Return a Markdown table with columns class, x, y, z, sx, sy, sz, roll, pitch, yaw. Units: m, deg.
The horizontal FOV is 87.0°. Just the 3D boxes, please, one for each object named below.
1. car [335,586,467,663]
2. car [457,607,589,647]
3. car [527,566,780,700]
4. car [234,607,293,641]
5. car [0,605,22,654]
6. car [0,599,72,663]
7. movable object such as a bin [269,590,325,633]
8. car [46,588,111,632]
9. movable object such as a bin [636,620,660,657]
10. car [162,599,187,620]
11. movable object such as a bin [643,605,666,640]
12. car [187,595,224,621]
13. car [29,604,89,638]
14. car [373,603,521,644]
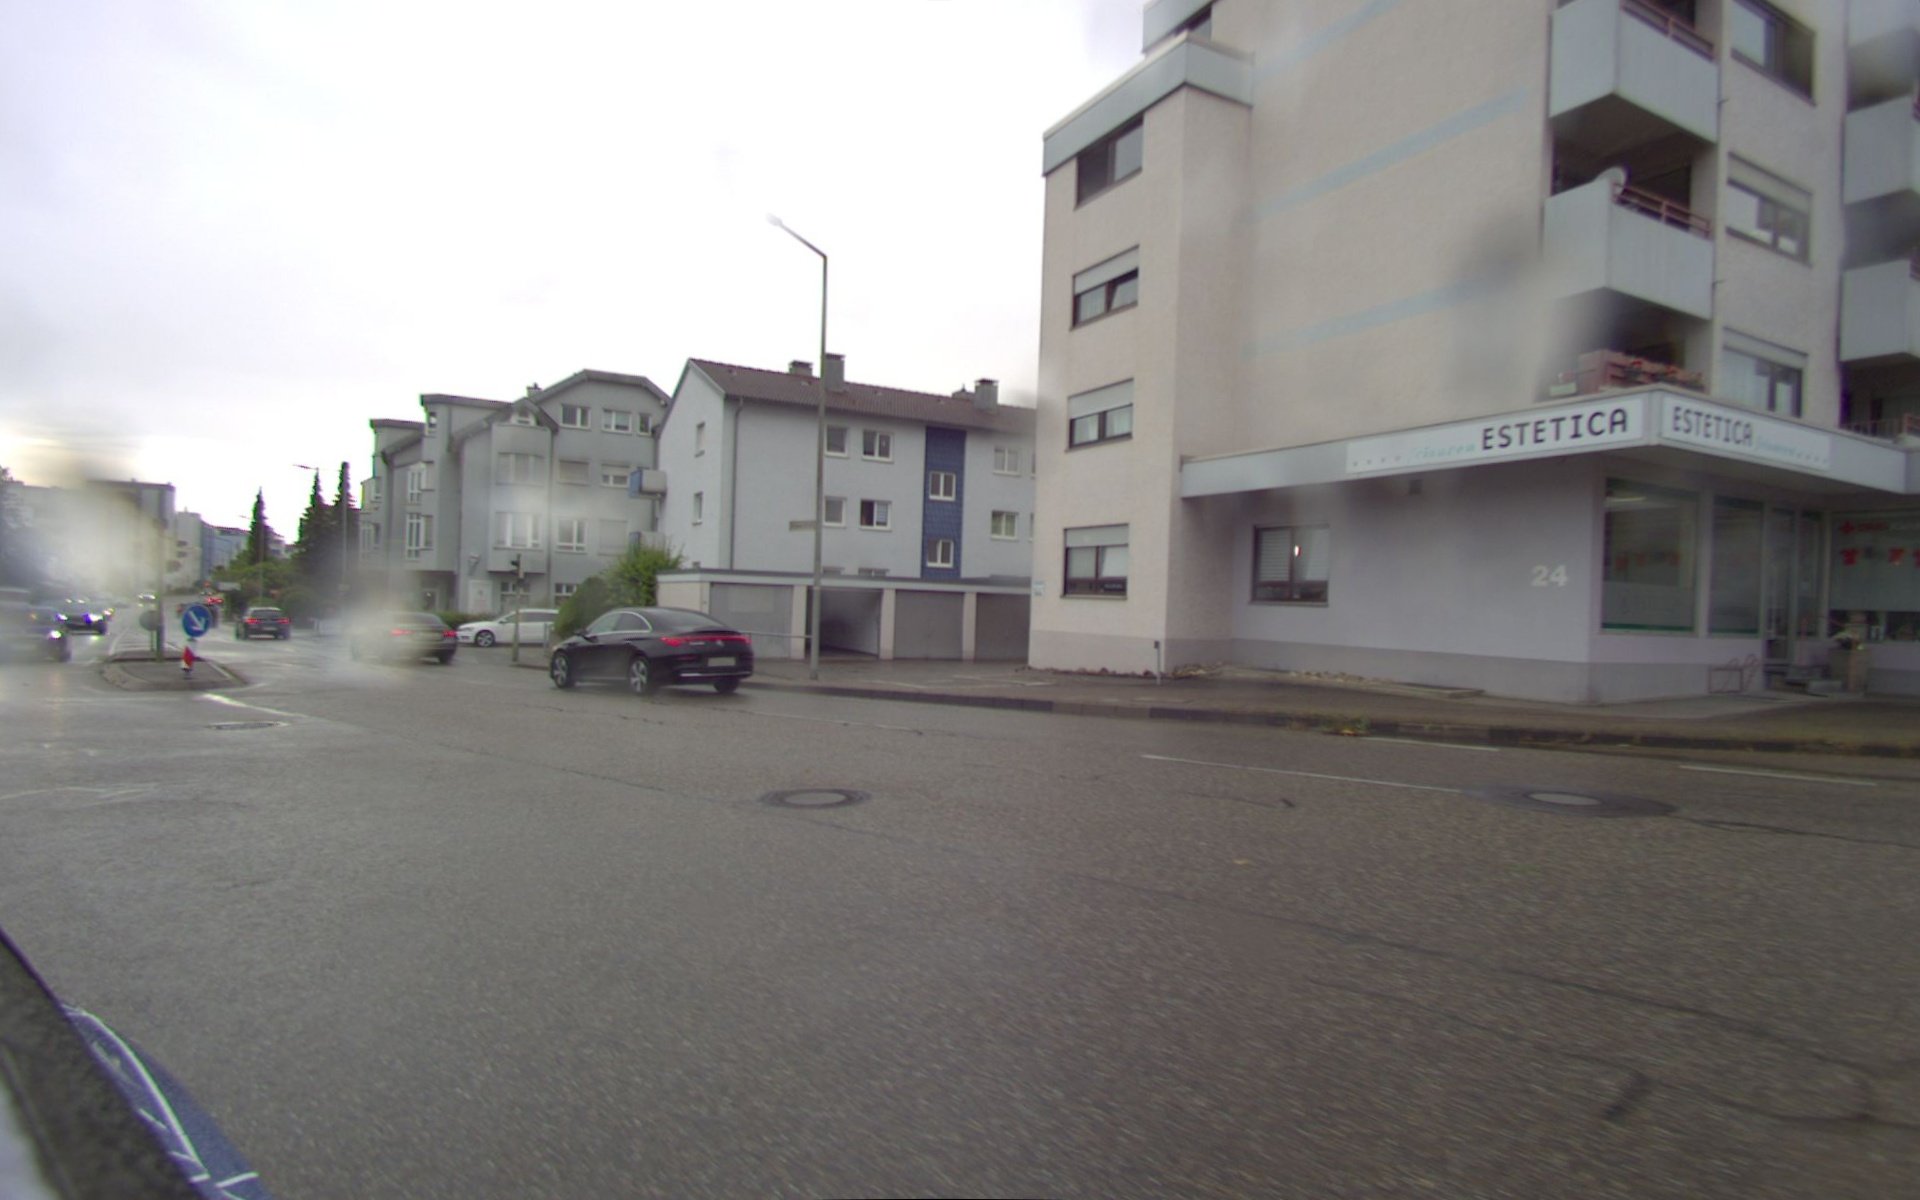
| class | x | y | z | sx | sy | sz | roll | pitch | yaw |
| --- | --- | --- | --- | --- | --- | --- | --- | --- | --- |
| car | -16.441 | 0.724 | 29.589 | 2.064 | 2.029 | 5.987 | 3 | -2 | -41 |
| car | -17.467 | 1.071 | 40.486 | 4.549 | 1.508 | 1.934 | 2 | -1 | -34 |
| car | -5.401 | 0.523 | 17.536 | 4.648 | 2.029 | 1.973 | 0 | -1 | 40 |
| car | -32.014 | 1.067 | 46.487 | 1.766 | 1.483 | 4.169 | 1 | -1 | -41 |
| car | -38.584 | 1.117 | 39.673 | 1.967 | 1.874 | 4.010 | 4 | -2 | -34 |
| car | -24.559 | 0.786 | 26.690 | 1.627 | 1.568 | 3.356 | 1 | -1 | -40 |
| movable object such as a bin | -45.523 | 0.795 | 69.541 | 2.877 | 2.863 | 2.204 | 1 | -1 | -24 |
| car | -42.572 | 0.504 | 48.979 | 1.967 | 2.029 | 4.009 | 1 | -1 | -36 |
| movable object such as a bin | -9.231 | 1.120 | 29.928 | 0.492 | 1.026 | 0.690 | -3 | 2 | -29 |
| car | -81.881 | 0.998 | 105.492 | 1.967 | 2.029 | 4.009 | 1 | -1 | -37 |
| movable object such as a bin | -8.871 | 0.637 | 29.335 | 0.492 | 0.968 | 0.536 | -3 | 2 | -29 |
| car | -55.125 | 0.604 | 73.954 | 2.069 | 1.847 | 4.744 | 1 | -1 | -37 |
| car | -53.064 | 1.207 | 59.680 | 1.966 | 1.874 | 4.011 | 4 | -2 | -33 |
| car | -22.095 | 1.014 | 43.704 | 5.390 | 1.697 | 2.153 | 1 | -1 | -36 |
